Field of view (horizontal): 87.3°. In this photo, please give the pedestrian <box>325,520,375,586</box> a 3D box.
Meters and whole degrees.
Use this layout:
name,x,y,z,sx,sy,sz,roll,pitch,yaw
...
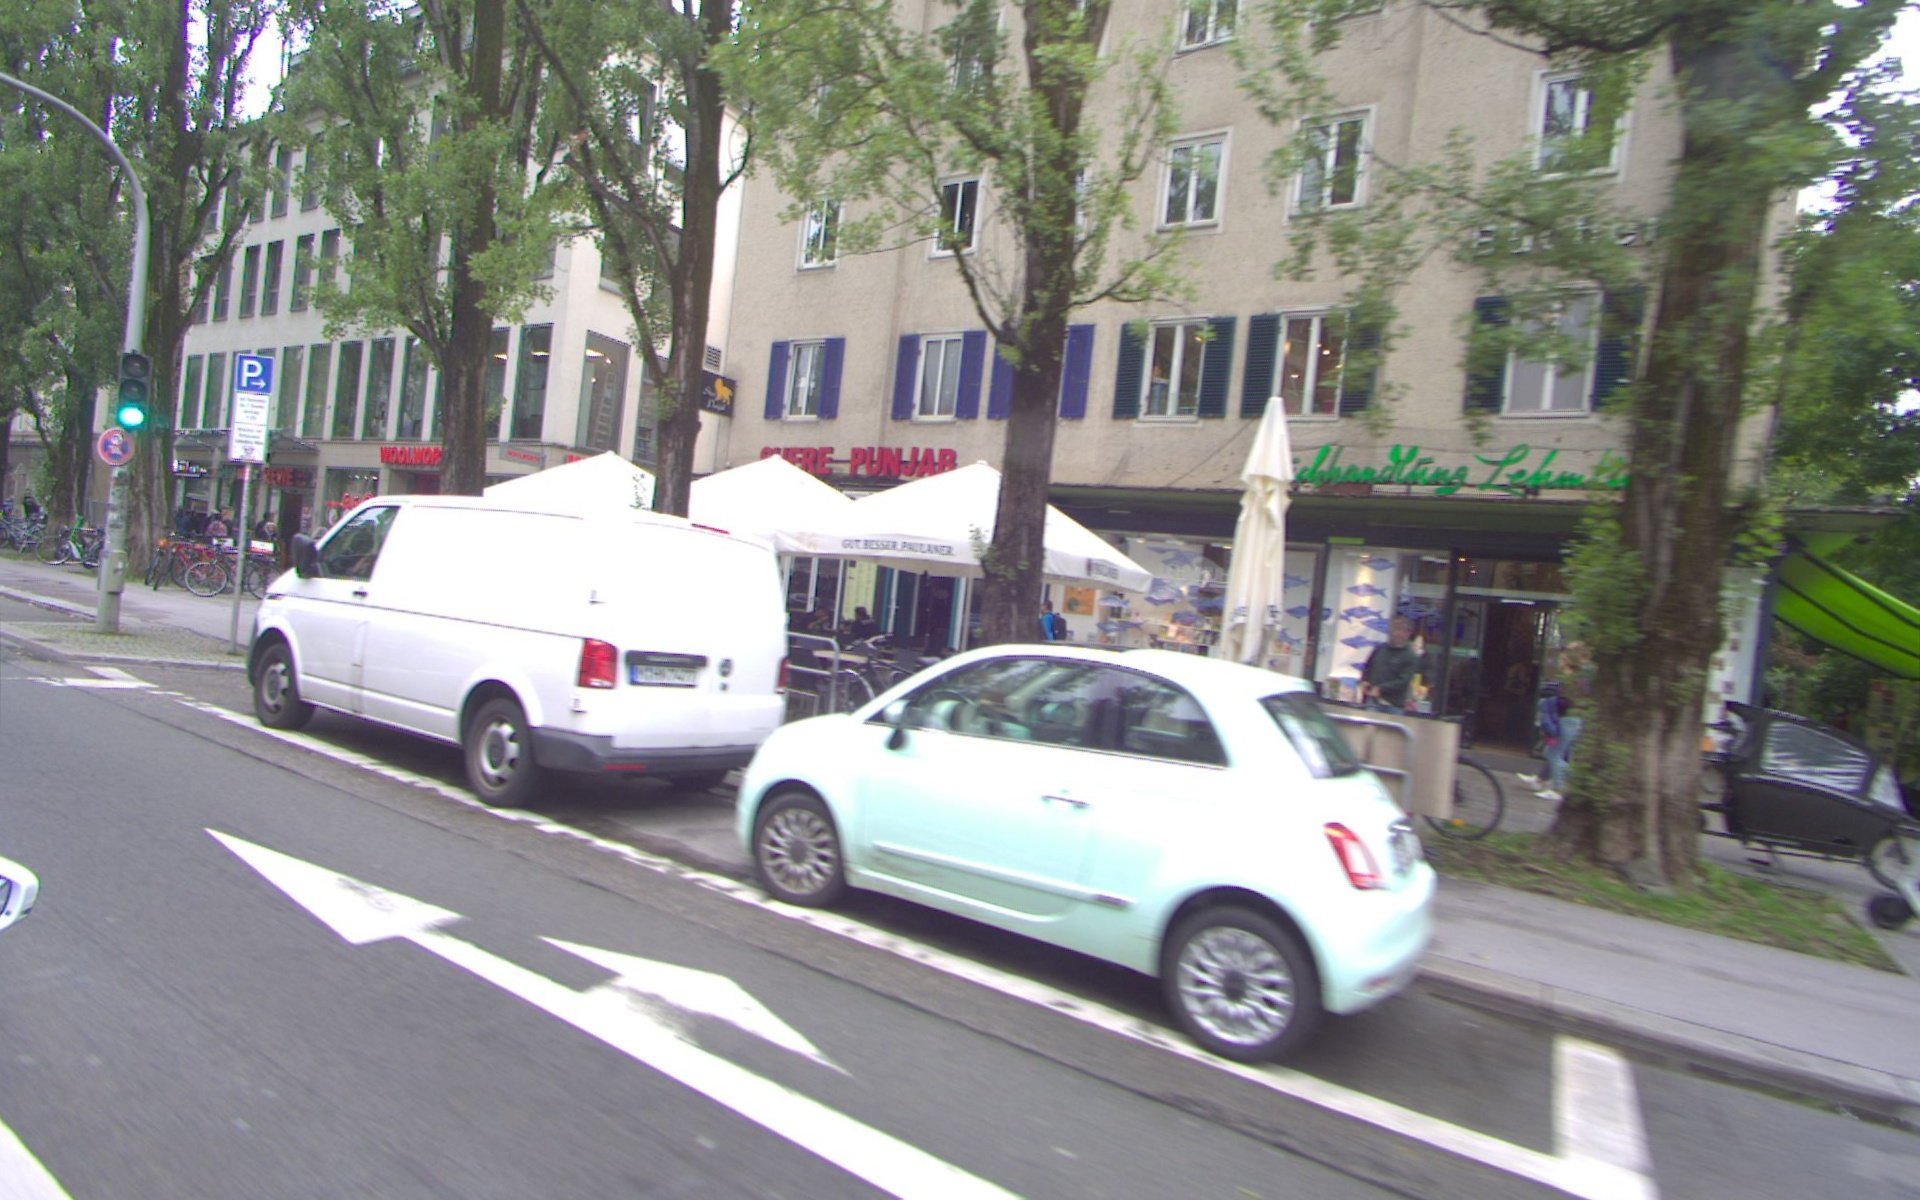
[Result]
name,x,y,z,sx,sy,sz,roll,pitch,yaw
pedestrian,-16.661,-1.284,27.470,0.864,1.699,0.797,6,1,37

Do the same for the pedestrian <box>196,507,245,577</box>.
name,x,y,z,sx,sy,sz,roll,pitch,yaw
pedestrian,-19.176,-1.495,26.095,0.745,1.707,0.674,6,1,28

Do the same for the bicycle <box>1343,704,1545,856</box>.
name,x,y,z,sx,sy,sz,roll,pitch,yaw
bicycle,4.081,1.494,8.550,1.429,1.009,0.349,6,2,28

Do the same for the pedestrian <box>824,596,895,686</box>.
name,x,y,z,sx,sy,sz,roll,pitch,yaw
pedestrian,-1.618,0.668,16.222,0.787,1.340,0.639,7,1,31

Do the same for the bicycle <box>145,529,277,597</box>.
name,x,y,z,sx,sy,sz,roll,pitch,yaw
bicycle,-15.143,-0.730,20.392,0.616,1.147,1.998,7,0,30

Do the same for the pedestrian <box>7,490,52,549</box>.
name,x,y,z,sx,sy,sz,roll,pitch,yaw
pedestrian,-31.353,-2.709,33.899,0.871,1.848,0.639,6,-1,22

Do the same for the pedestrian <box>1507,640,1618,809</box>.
name,x,y,z,sx,sy,sz,roll,pitch,yaw
pedestrian,6.704,1.355,11.208,0.862,1.698,0.798,7,1,32

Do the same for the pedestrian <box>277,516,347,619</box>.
name,x,y,z,sx,sy,sz,roll,pitch,yaw
pedestrian,-11.462,-0.570,17.819,0.747,1.707,0.748,5,1,-16

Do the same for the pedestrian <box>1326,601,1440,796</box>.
name,x,y,z,sx,sy,sz,roll,pitch,yaw
pedestrian,4.477,1.022,10.627,0.736,1.888,0.956,7,1,35

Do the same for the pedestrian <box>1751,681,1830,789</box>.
name,x,y,z,sx,sy,sz,roll,pitch,yaw
pedestrian,14.044,2.258,17.040,0.788,1.668,0.828,7,1,33

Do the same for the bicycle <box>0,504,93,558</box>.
name,x,y,z,sx,sy,sz,roll,pitch,yaw
bicycle,-25.105,-1.884,27.323,0.616,1.219,2.230,7,0,30

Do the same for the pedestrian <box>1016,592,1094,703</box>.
name,x,y,z,sx,sy,sz,roll,pitch,yaw
pedestrian,1.570,0.786,16.548,0.862,1.698,0.799,7,1,29

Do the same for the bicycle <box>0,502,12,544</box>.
name,x,y,z,sx,sy,sz,roll,pitch,yaw
bicycle,-29.536,-2.411,29.622,0.616,1.219,2.230,7,0,30

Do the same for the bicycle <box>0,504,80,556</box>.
name,x,y,z,sx,sy,sz,roll,pitch,yaw
bicycle,-25.794,-1.956,27.696,0.616,1.219,2.230,7,0,30

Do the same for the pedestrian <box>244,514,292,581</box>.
name,x,y,z,sx,sy,sz,roll,pitch,yaw
pedestrian,-18.644,-1.406,27.105,0.664,1.707,0.757,6,1,31

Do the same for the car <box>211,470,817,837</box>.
name,x,y,z,sx,sy,sz,roll,pitch,yaw
car,-3.560,0.217,7.718,4.652,1.970,1.790,7,0,32

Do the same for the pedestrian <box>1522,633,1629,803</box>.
name,x,y,z,sx,sy,sz,roll,pitch,yaw
pedestrian,7.218,1.358,11.829,0.862,1.818,0.772,7,1,32

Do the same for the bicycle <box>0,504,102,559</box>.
name,x,y,z,sx,sy,sz,roll,pitch,yaw
bicycle,-24.466,-1.818,26.850,0.616,1.219,2.230,7,0,30

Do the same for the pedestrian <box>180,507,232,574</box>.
name,x,y,z,sx,sy,sz,roll,pitch,yaw
pedestrian,-22.723,-1.796,30.325,0.871,1.848,0.722,6,-1,22

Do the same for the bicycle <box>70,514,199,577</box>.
name,x,y,z,sx,sy,sz,roll,pitch,yaw
bicycle,-19.671,-1.278,24.028,0.616,1.219,2.230,7,0,30

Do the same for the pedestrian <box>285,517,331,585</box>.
name,x,y,z,sx,sy,sz,roll,pitch,yaw
pedestrian,-17.387,-1.296,26.832,0.665,1.707,0.756,6,1,37

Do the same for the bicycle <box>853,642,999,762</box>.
name,x,y,z,sx,sy,sz,roll,pitch,yaw
bicycle,-0.359,1.007,10.233,1.429,1.009,0.349,6,2,28

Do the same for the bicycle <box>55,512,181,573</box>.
name,x,y,z,sx,sy,sz,roll,pitch,yaw
bicycle,-20.571,-1.379,24.643,0.616,1.219,2.230,7,0,30

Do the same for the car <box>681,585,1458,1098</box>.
name,x,y,z,sx,sy,sz,roll,pitch,yaw
car,0.443,0.895,5.100,3.465,1.510,1.543,6,-1,33

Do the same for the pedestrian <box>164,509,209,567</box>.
name,x,y,z,sx,sy,sz,roll,pitch,yaw
pedestrian,-26.472,-2.113,34.430,0.871,1.848,0.722,6,-1,22

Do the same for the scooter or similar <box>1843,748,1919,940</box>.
name,x,y,z,sx,sy,sz,roll,pitch,yaw
scooter or similar,6.951,1.726,6.732,1.419,1.232,0.327,6,2,28

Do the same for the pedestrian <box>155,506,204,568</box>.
name,x,y,z,sx,sy,sz,roll,pitch,yaw
pedestrian,-25.371,-2.041,32.708,0.871,1.848,0.722,6,-1,22

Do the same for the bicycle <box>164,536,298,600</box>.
name,x,y,z,sx,sy,sz,roll,pitch,yaw
bicycle,-14.391,-0.607,19.920,0.616,1.045,1.998,7,0,30

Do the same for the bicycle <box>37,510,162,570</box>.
name,x,y,z,sx,sy,sz,roll,pitch,yaw
bicycle,-21.488,-1.486,25.177,0.616,1.219,2.230,7,0,30

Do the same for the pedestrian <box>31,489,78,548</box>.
name,x,y,z,sx,sy,sz,roll,pitch,yaw
pedestrian,-31.138,-2.789,34.590,0.871,1.848,0.722,6,-1,22

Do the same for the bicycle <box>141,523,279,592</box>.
name,x,y,z,sx,sy,sz,roll,pitch,yaw
bicycle,-15.950,-0.879,21.459,0.616,1.219,2.230,7,0,30

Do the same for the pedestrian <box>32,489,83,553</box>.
name,x,y,z,sx,sy,sz,roll,pitch,yaw
pedestrian,-28.216,-2.456,31.463,0.871,1.848,0.722,6,-1,22

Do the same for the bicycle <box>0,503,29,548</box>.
name,x,y,z,sx,sy,sz,roll,pitch,yaw
bicycle,-28.383,-2.249,28.928,0.616,1.219,2.230,7,0,30

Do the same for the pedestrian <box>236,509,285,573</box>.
name,x,y,z,sx,sy,sz,roll,pitch,yaw
pedestrian,-22.014,-1.845,31.647,0.871,1.848,0.722,6,-1,22

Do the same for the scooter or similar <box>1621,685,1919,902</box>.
name,x,y,z,sx,sy,sz,roll,pitch,yaw
scooter or similar,7.179,1.617,8.500,2.451,1.394,0.637,8,3,28
